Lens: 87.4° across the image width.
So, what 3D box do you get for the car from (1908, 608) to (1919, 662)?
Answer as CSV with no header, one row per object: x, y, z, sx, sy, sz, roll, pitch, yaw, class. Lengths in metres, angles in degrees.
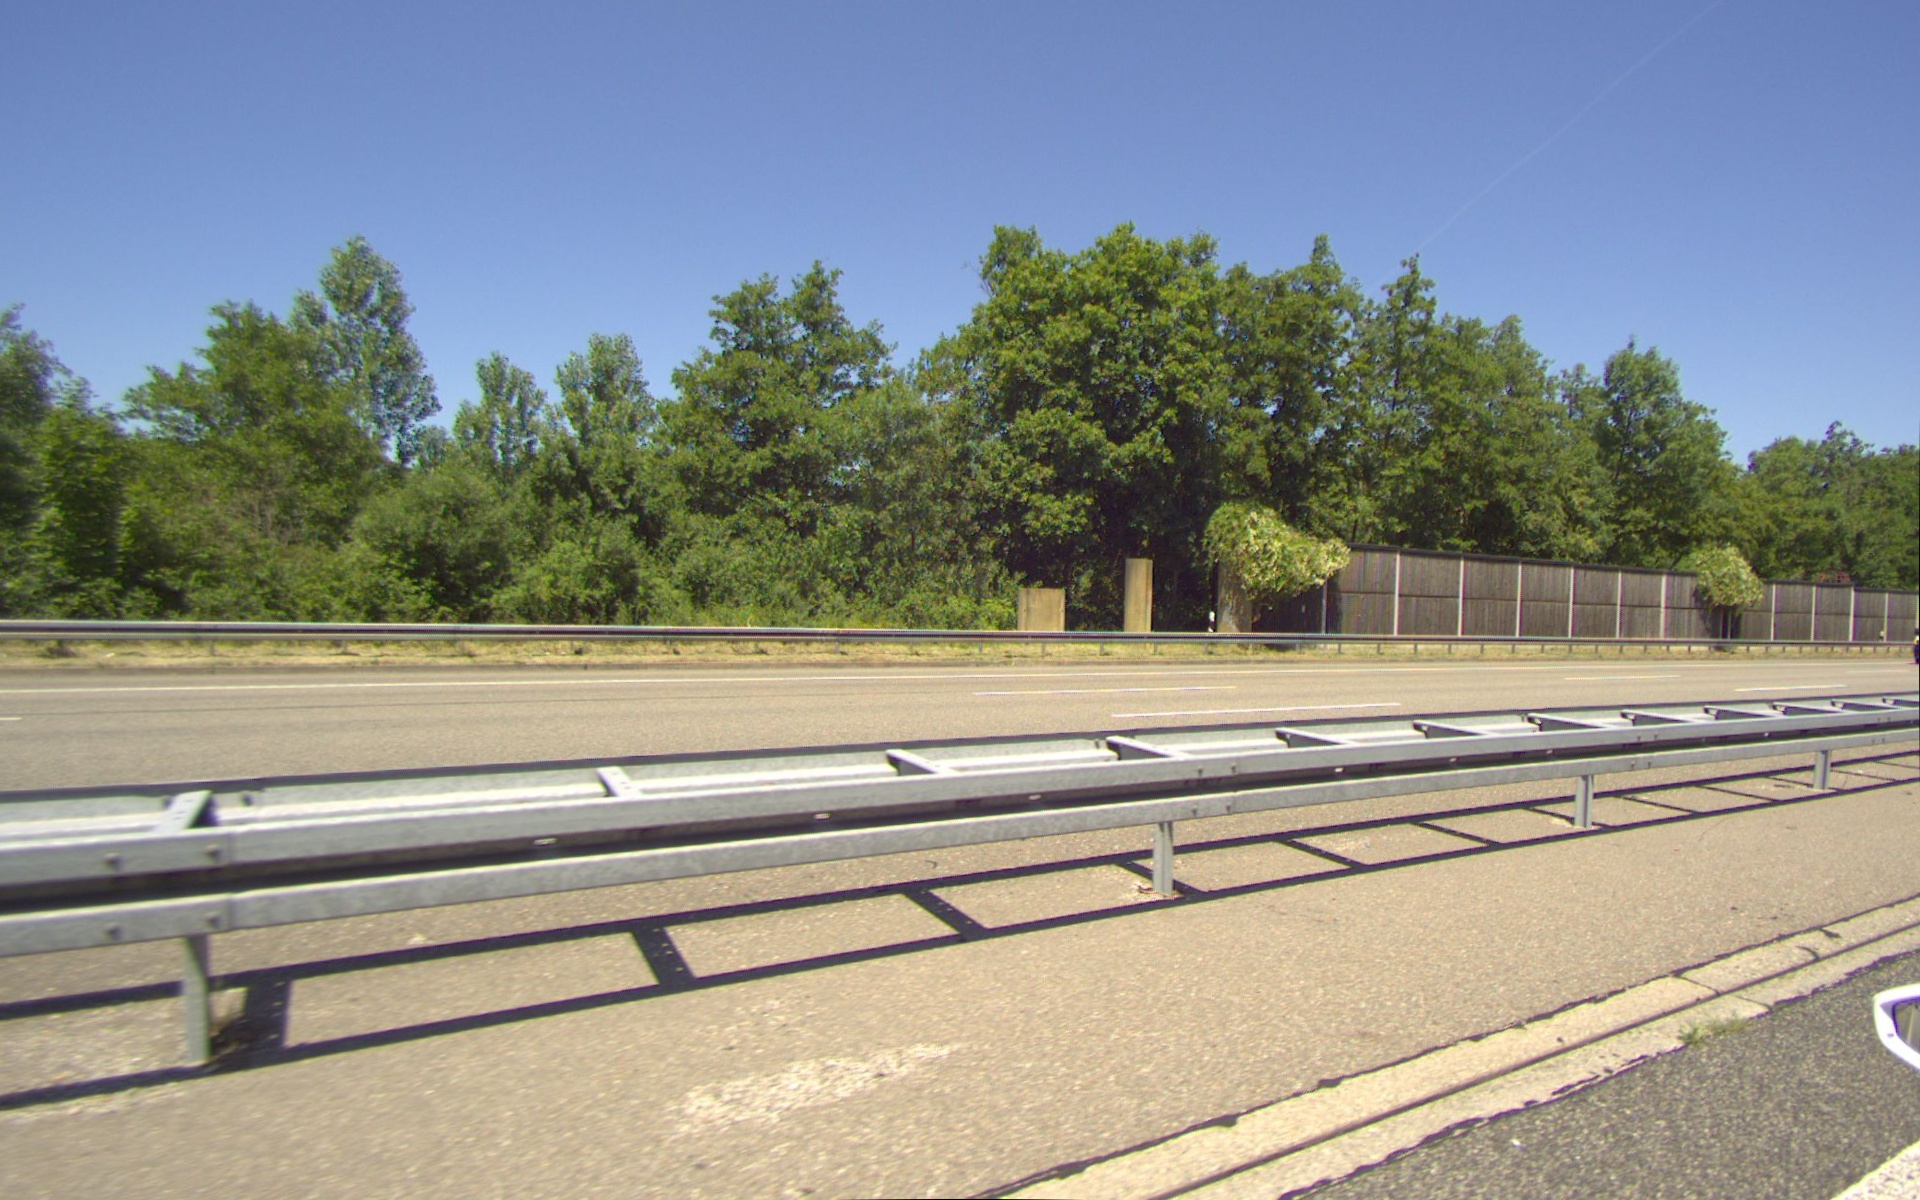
45.960,1.657,46.277,5.353,2.463,2.013,2,0,-32,car
